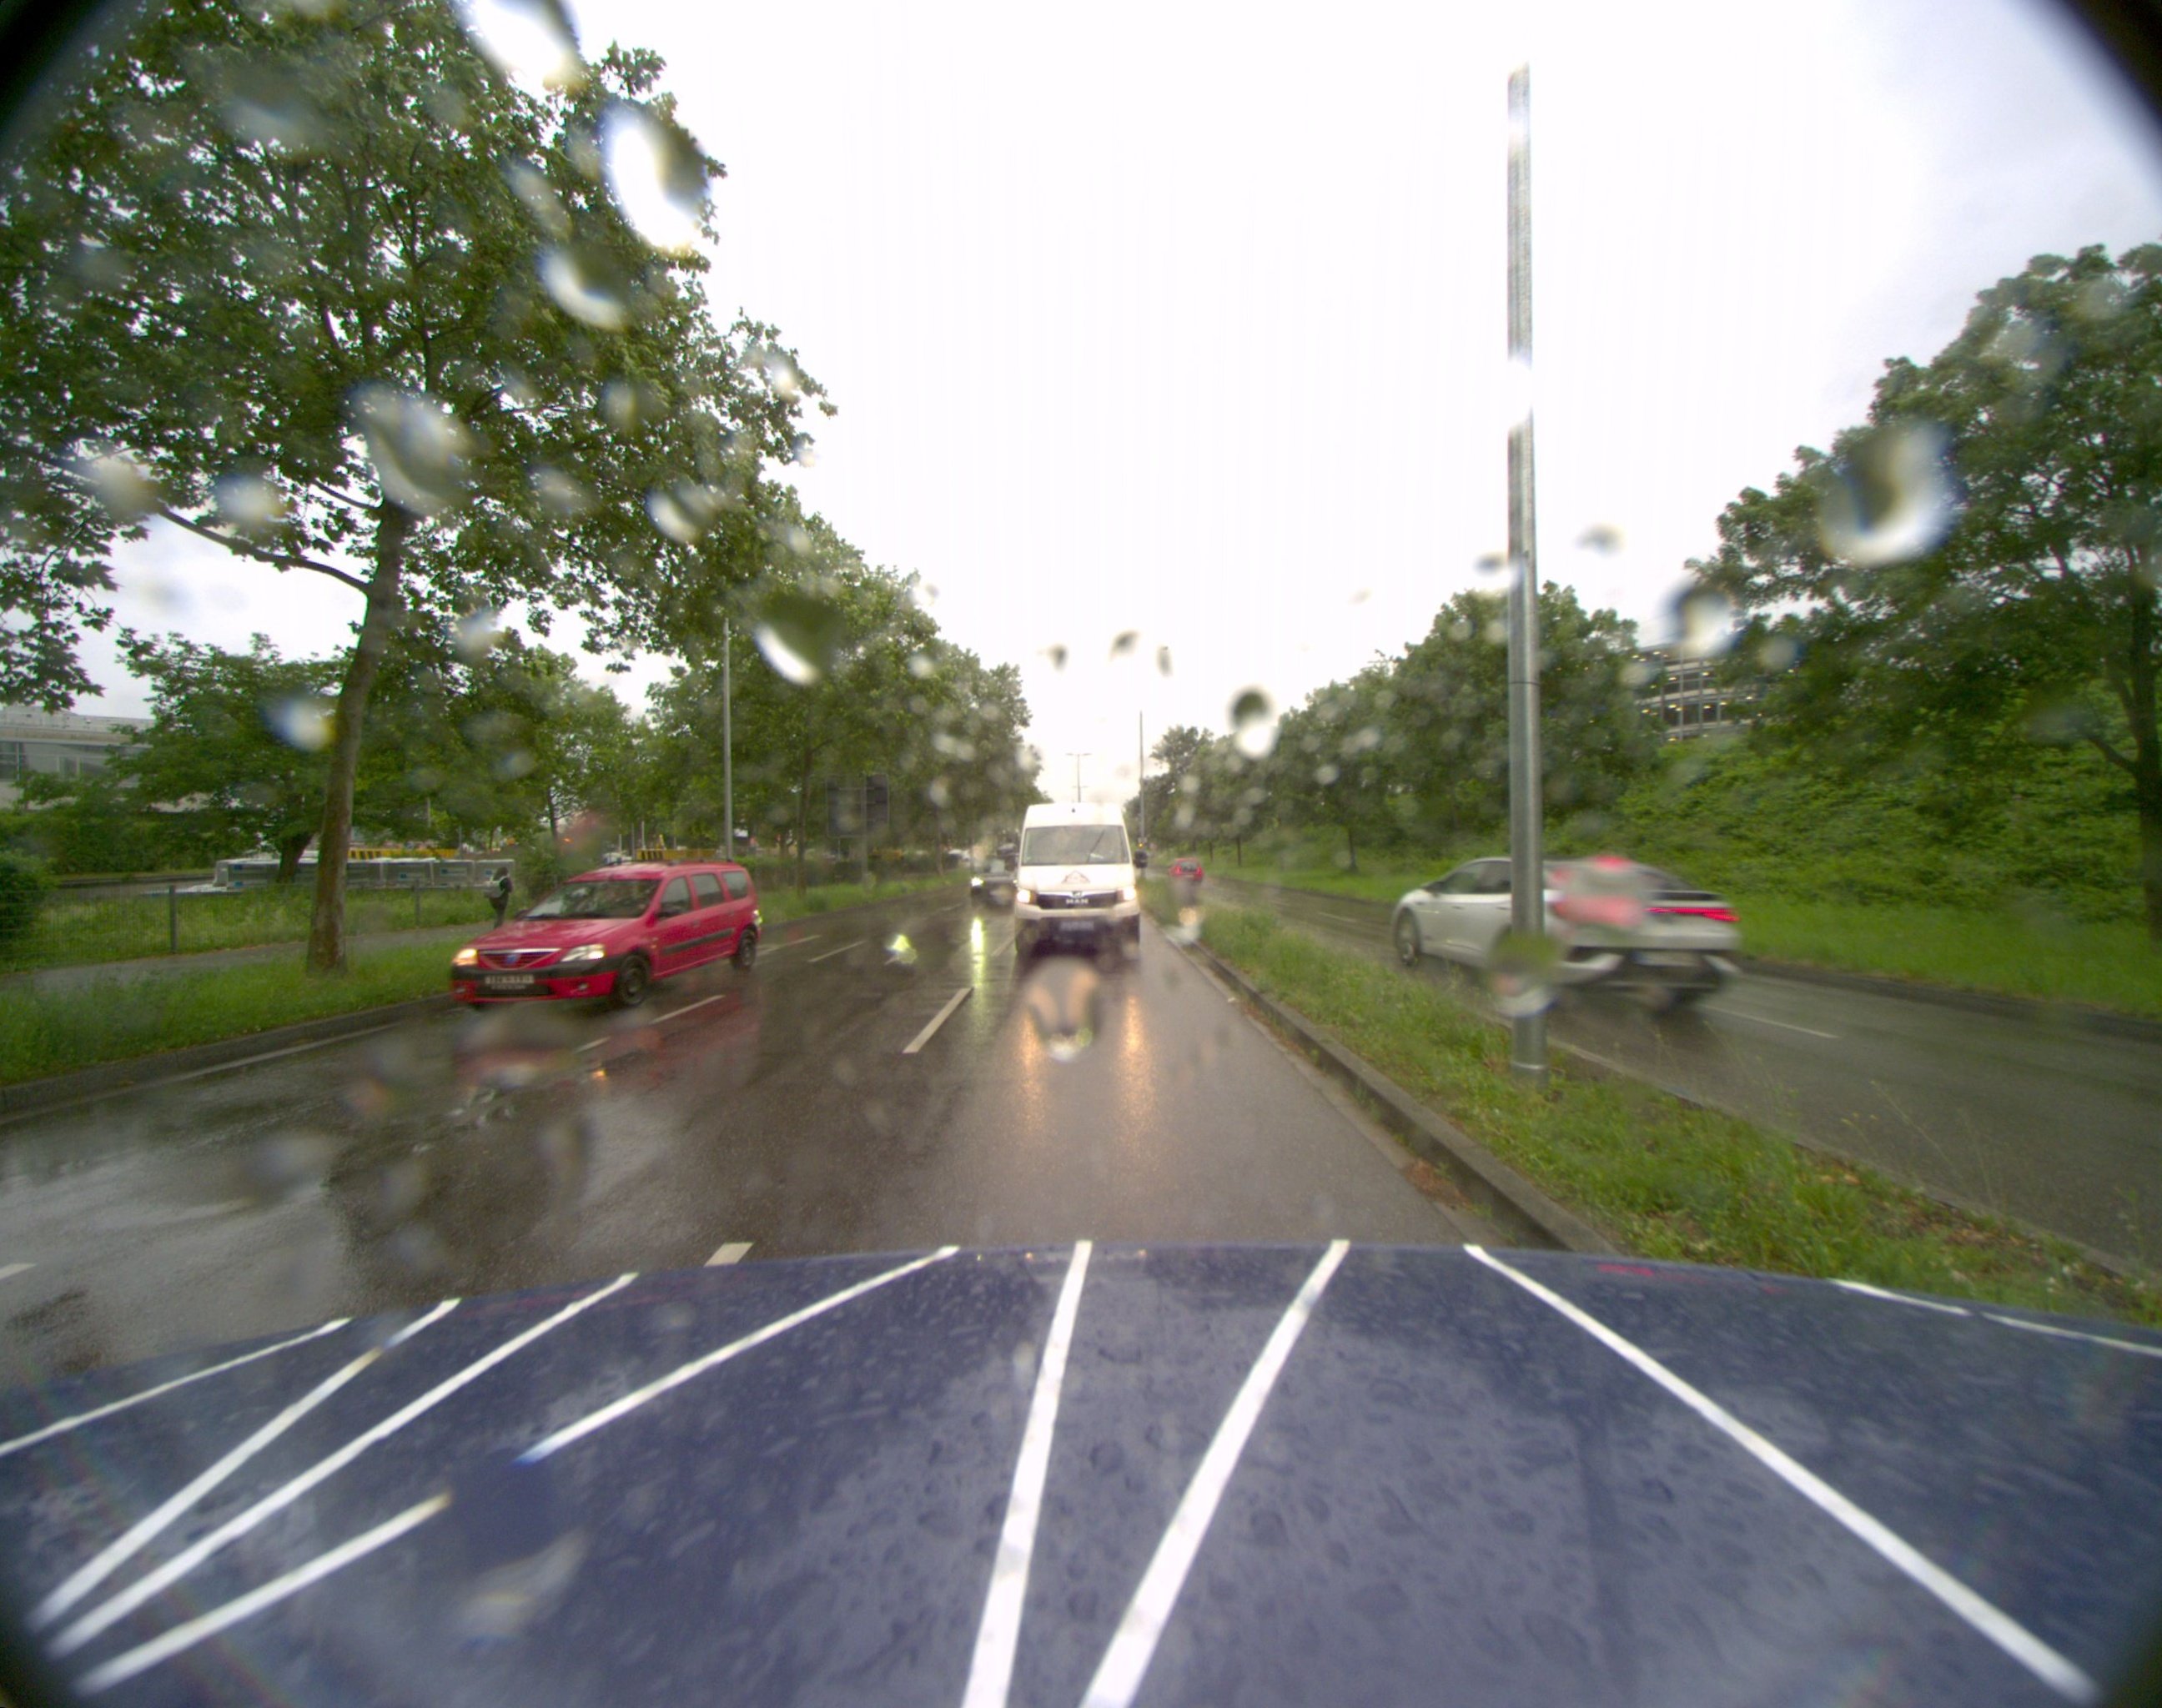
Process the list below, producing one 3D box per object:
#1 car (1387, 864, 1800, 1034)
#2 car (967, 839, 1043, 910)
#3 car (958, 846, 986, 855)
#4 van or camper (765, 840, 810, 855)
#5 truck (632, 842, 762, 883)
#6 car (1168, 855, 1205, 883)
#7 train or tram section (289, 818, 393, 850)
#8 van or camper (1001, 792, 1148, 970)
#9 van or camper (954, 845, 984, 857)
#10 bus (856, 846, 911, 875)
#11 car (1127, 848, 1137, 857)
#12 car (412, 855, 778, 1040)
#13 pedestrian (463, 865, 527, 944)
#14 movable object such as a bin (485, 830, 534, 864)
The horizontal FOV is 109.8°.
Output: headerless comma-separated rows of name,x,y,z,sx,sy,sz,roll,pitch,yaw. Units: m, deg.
car,5.552,0.895,9.103,1.967,1.516,4.334,1,0,-1
car,-2.461,0.617,25.729,1.935,2.120,4.557,-2,1,1
car,-18.669,-0.605,130.443,4.470,1.663,1.863,-1,1,-38
van or camper,-65.906,-1.501,170.671,8.994,3.140,2.979,-3,3,-35
truck,-33.050,0.656,65.645,9.517,3.015,3.073,-3,3,-35
car,6.007,0.856,43.614,1.720,1.504,3.614,1,0,1
train or tram section,-86.691,-2.409,89.239,8.385,3.500,2.393,-3,3,-38
van or camper,-0.060,0.386,13.688,2.100,2.580,4.775,-2,1,1
van or camper,-19.714,-0.616,133.654,4.918,2.076,1.863,-1,1,-38
bus,-19.360,0.614,74.488,4.804,2.632,2.000,-1,1,1
car,9.338,-0.323,138.645,1.700,1.608,3.847,-1,1,1
car,-5.710,0.932,9.790,1.699,1.759,4.557,-1,1,1
pedestrian,-13.699,1.156,17.796,0.666,1.752,1.075,-1,1,-5
movable object such as a bin,-63.671,-0.786,84.633,3.602,3.605,3.326,0,2,35
